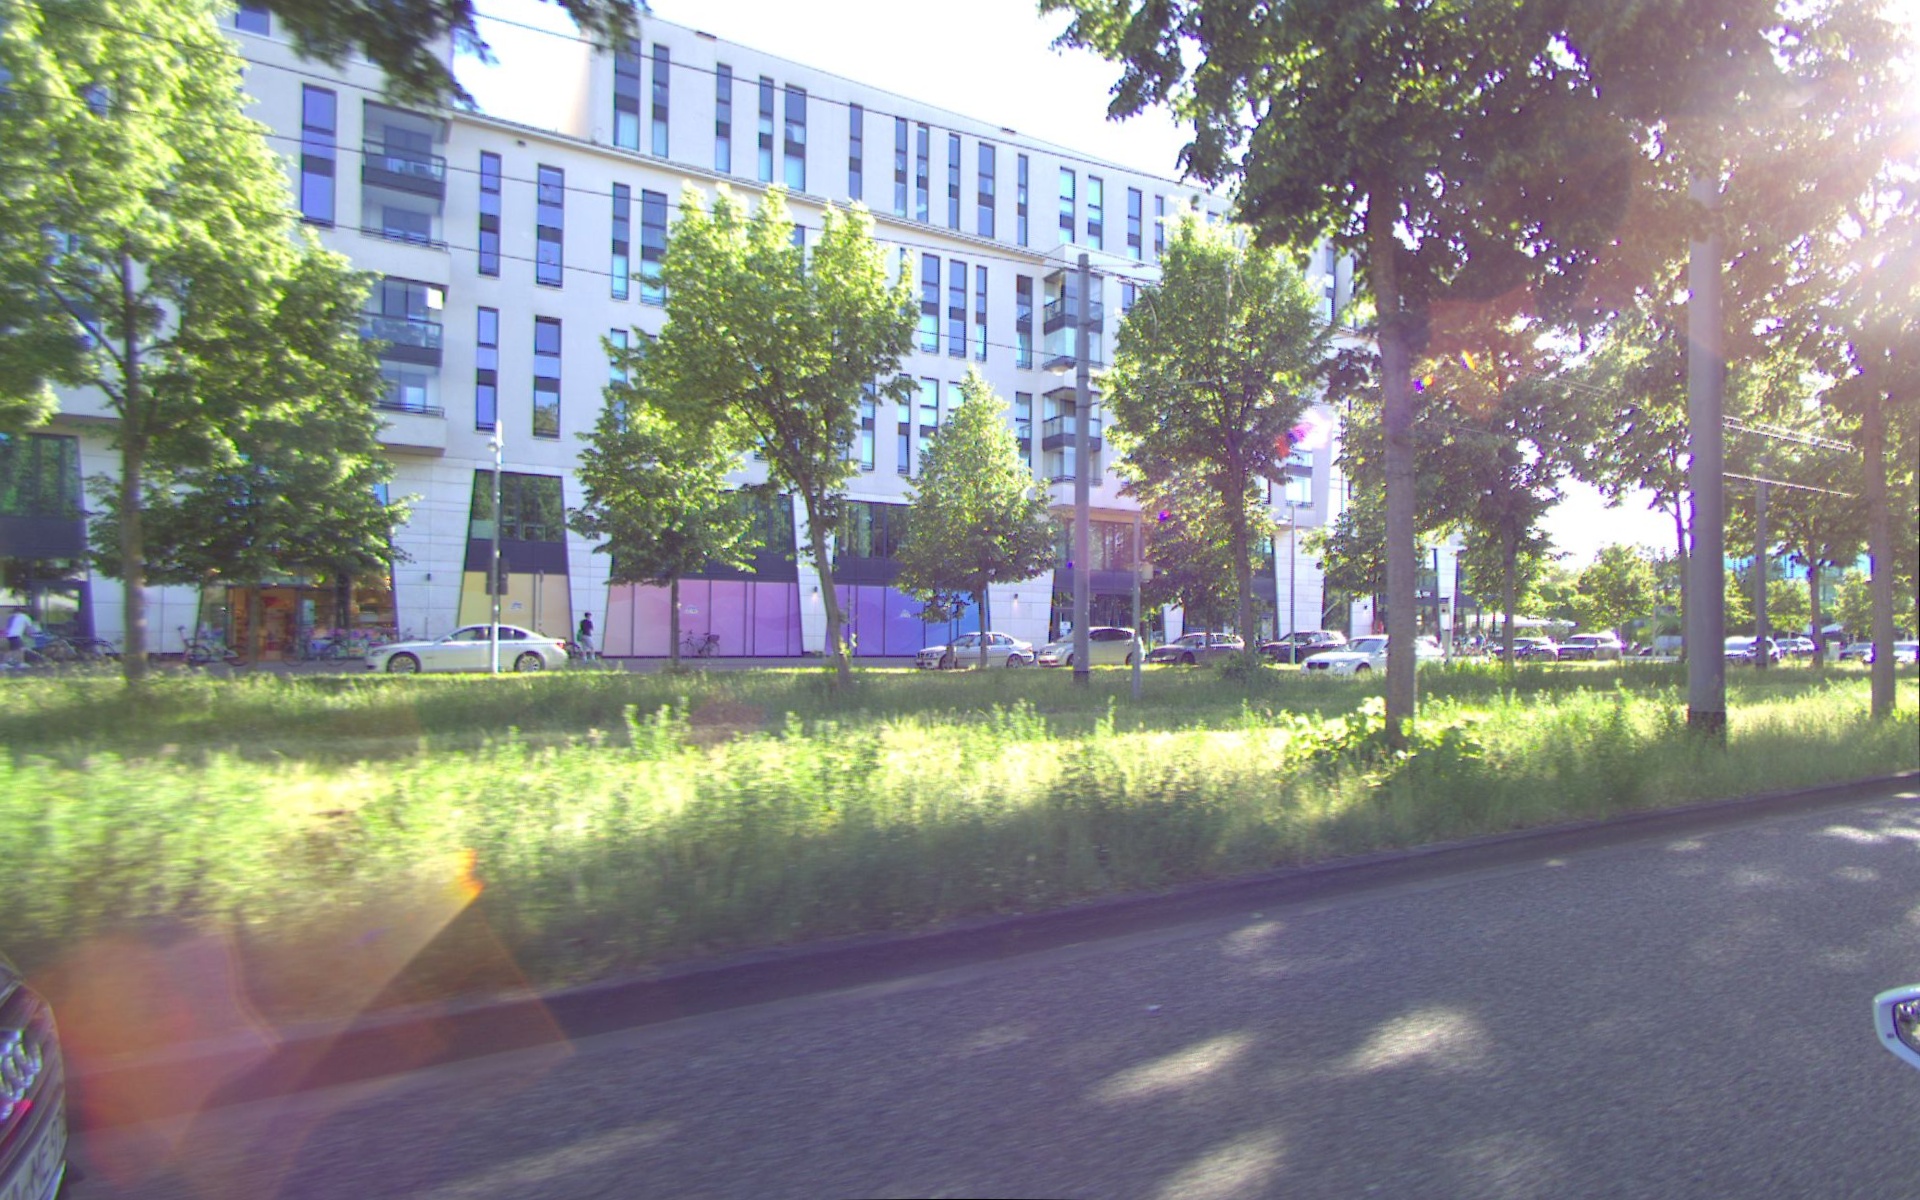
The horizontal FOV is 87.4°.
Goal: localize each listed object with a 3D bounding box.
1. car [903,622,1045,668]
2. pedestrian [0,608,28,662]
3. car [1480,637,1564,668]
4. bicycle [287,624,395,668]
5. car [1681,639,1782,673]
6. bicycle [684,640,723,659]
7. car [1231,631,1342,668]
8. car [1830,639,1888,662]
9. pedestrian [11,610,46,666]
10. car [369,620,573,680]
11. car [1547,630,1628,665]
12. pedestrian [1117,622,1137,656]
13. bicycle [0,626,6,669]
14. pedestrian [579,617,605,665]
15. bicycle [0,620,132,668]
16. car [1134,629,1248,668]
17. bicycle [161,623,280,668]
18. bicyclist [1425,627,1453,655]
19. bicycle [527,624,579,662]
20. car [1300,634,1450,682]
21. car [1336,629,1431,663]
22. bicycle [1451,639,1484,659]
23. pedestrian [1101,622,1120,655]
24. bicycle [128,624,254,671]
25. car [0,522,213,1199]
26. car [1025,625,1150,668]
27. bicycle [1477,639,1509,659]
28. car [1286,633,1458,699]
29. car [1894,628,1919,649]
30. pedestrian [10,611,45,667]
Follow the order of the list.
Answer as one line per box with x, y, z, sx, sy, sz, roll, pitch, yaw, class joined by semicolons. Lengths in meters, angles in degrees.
0.514;1.589;35.704;4.727;1.460;1.982;2;0;-32;car
-28.256;1.041;29.916;0.511;1.570;0.502;2;0;19;pedestrian
29.441;2.735;52.589;4.215;1.460;1.949;2;0;-30;car
-19.510;1.457;31.745;2.732;1.298;0.945;2;0;-23;bicycle
36.321;2.624;47.254;4.643;1.460;1.986;2;0;-28;car
-10.478;2.018;41.063;1.497;0.741;0.276;2;0;-28;bicycle
14.292;2.157;43.894;4.883;1.460;1.982;2;0;-33;car
68.092;3.833;76.083;4.555;1.642;1.871;2;0;-29;car
-26.815;1.086;28.913;0.511;1.570;0.502;2;0;12;pedestrian
-13.412;1.360;27.657;4.872;1.460;1.982;2;0;-33;car
35.034;2.645;56.053;4.724;1.795;1.982;2;0;-32;car
8.532;1.996;51.298;0.712;1.673;0.632;2;0;-32;pedestrian
-27.638;1.285;27.318;2.357;1.152;0.859;2;0;-40;bicycle
-13.149;1.453;35.910;0.712;1.673;0.632;2;0;-32;pedestrian
-25.469;1.255;28.604;2.732;1.298;0.945;2;0;-23;bicycle
9.453;1.979;40.981;4.407;1.460;1.982;2;0;-32;car
-22.576;1.400;30.740;2.732;1.298;0.945;2;0;-23;bicycle
25.224;2.173;52.870;1.641;1.424;0.486;2;0;-30;bicyclist
-14.274;1.518;35.219;1.591;1.298;0.594;2;0;-32;bicycle
14.078;1.955;34.023;5.049;1.460;1.984;2;0;-29;car
20.045;2.184;47.506;4.407;1.460;1.982;2;0;-32;car
31.421;3.039;62.230;2.215;1.214;0.729;2;0;-31;bicycle
7.764;1.972;51.782;0.713;1.673;0.631;2;0;-37;pedestrian
-22.555;1.395;29.533;2.732;1.298;0.945;2;0;-23;bicycle
-3.641;0.659;0.532;5.028;1.500;1.942;0;-1;-32;car
4.849;1.753;38.067;4.404;1.460;1.984;2;0;-30;car
33.764;3.125;63.561;2.215;1.214;0.729;2;0;-31;bicycle
12.065;1.897;29.311;5.051;1.708;1.984;2;0;-31;car
95.371;3.853;100.141;4.508;2.040;1.985;2;0;-29;car
-26.489;1.095;28.535;0.511;1.570;0.502;2;0;12;pedestrian
